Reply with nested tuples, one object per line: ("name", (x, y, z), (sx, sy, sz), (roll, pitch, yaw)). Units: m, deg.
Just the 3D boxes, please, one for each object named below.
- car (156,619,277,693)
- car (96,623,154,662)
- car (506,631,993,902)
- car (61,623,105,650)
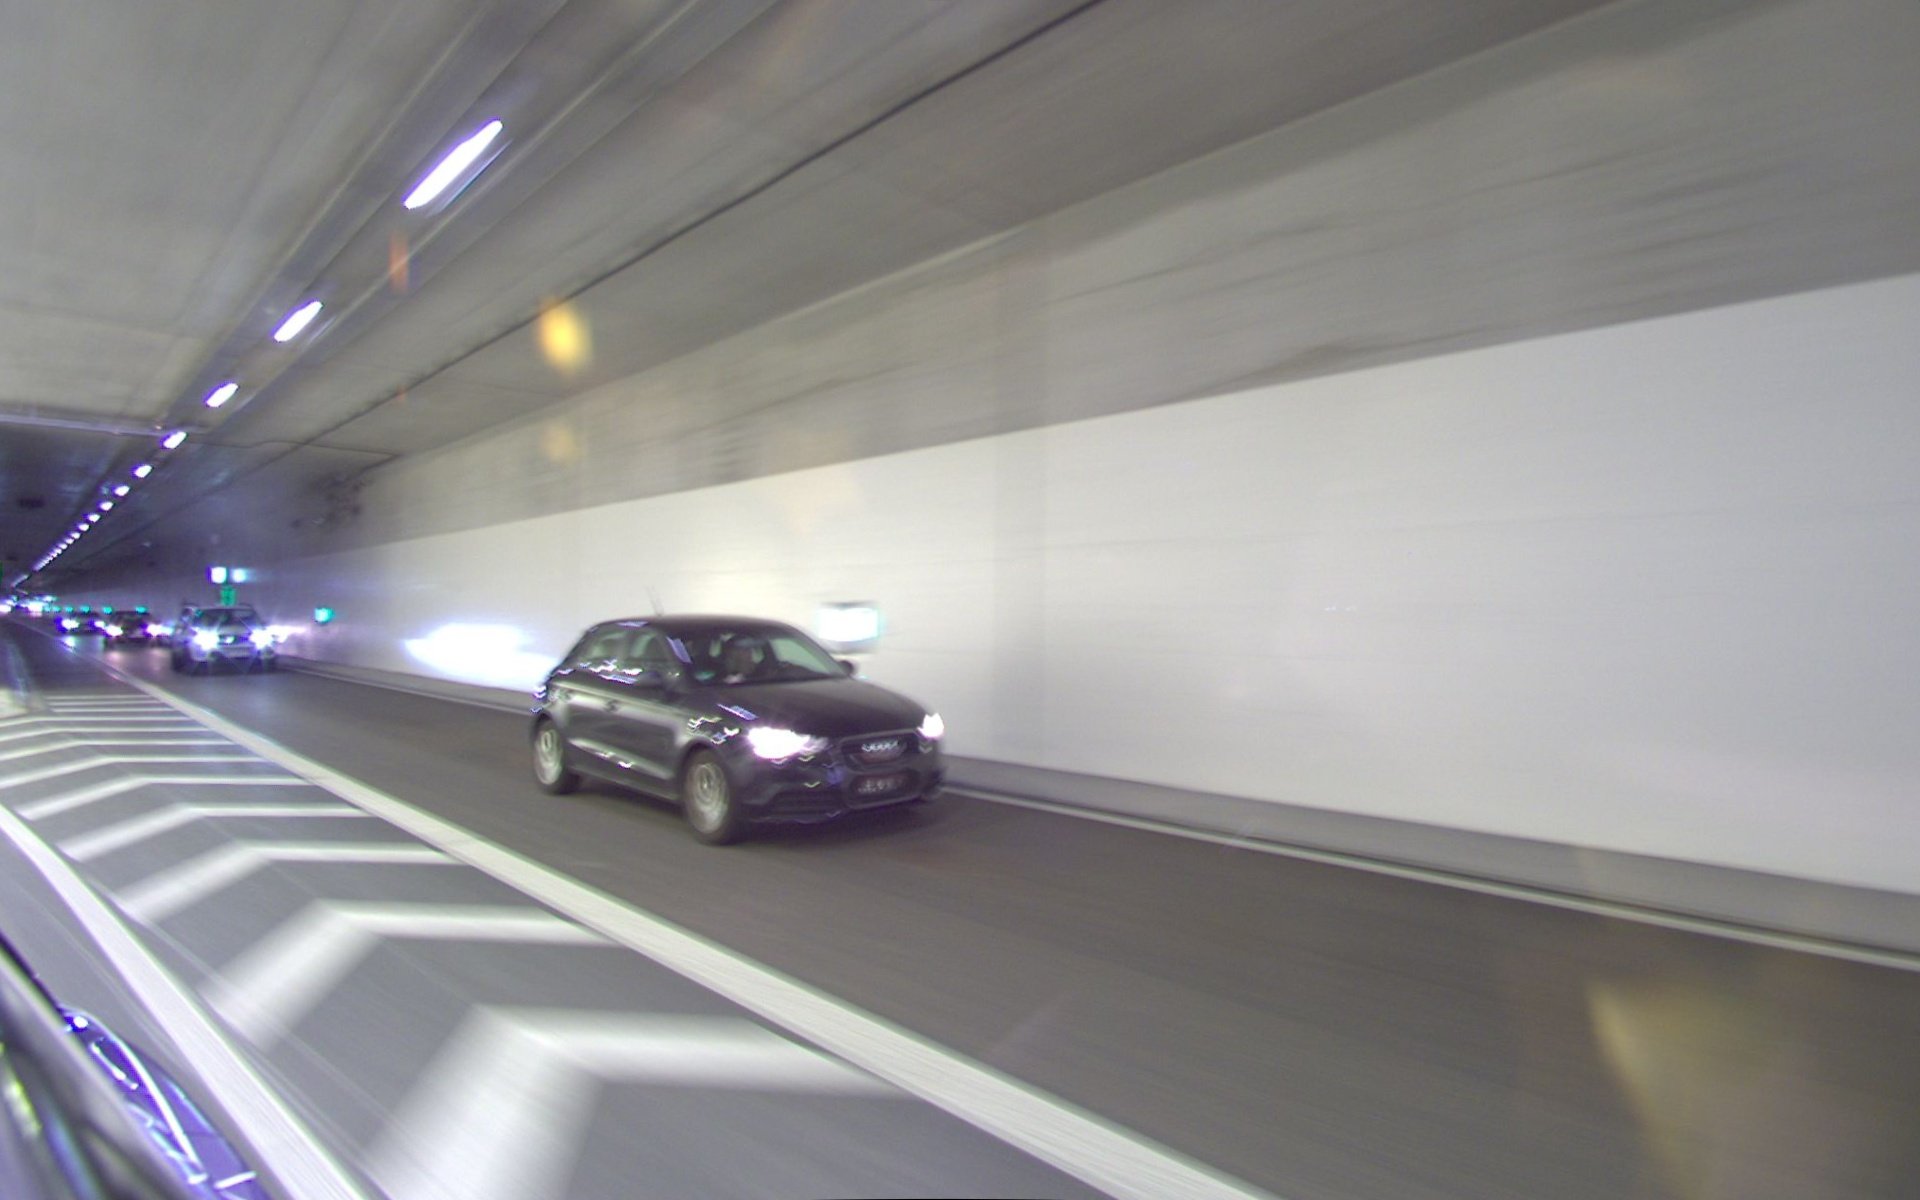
("car", (-18.403, 1.326, 25.008), (3.833, 1.677, 1.828), (-1, -2, 45))
("car", (-34.687, 1.746, 42.004), (1.585, 1.481, 3.684), (-2, 0, -43))
("car", (-1.736, 0.960, 7.423), (3.878, 1.412, 1.637), (-1, -1, 45))
("car", (-52.545, 2.157, 60.602), (3.682, 1.463, 1.695), (-1, 0, 45))
